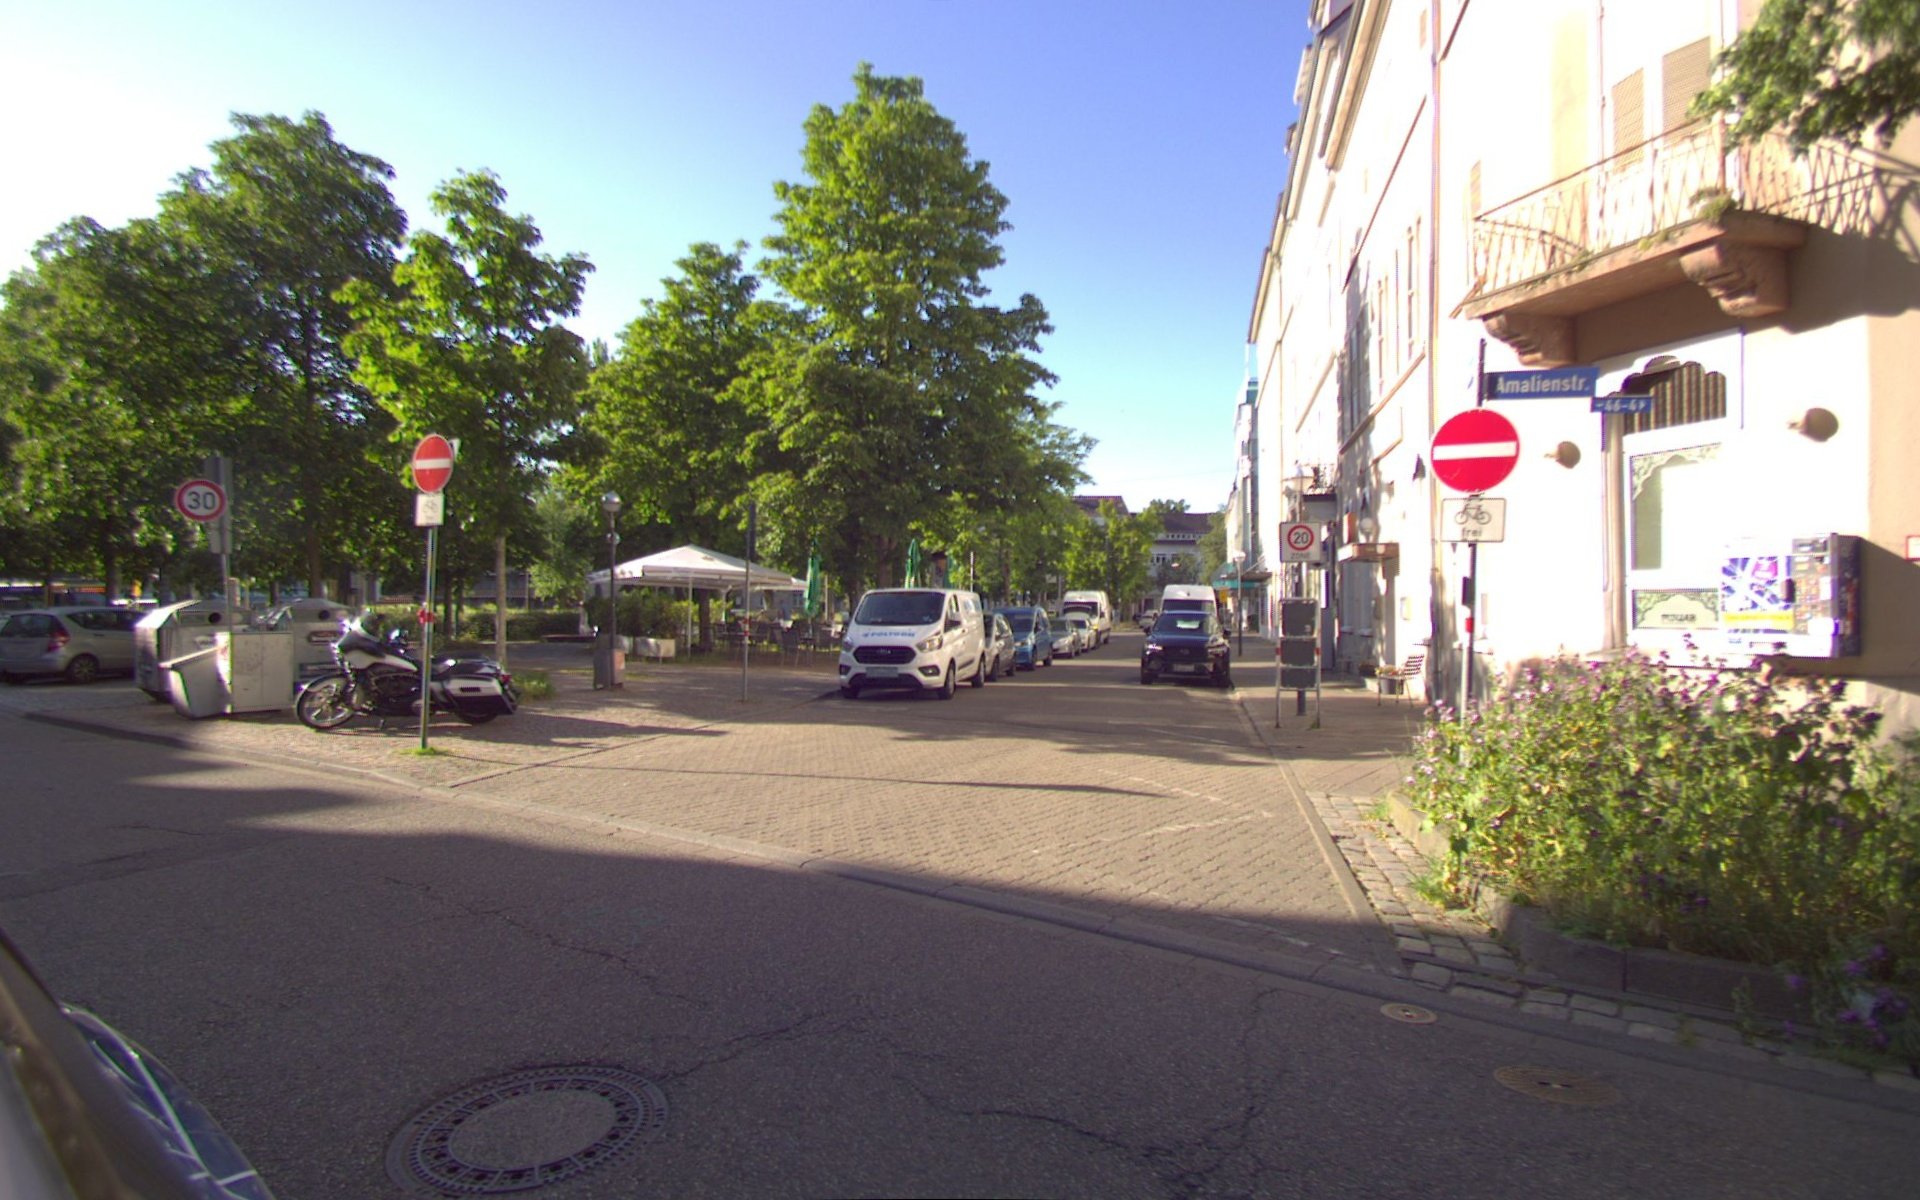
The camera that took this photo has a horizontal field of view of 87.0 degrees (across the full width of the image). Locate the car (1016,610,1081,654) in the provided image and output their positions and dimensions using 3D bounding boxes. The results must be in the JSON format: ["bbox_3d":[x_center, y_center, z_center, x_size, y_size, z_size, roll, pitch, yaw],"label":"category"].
[{"bbox_3d":[3.322,1.160,37.384,1.908,1.528,4.135,0,-2,12],"label":"car"}]

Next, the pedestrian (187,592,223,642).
[{"bbox_3d":[-19.383,0.435,25.997,0.520,1.266,0.519,0,-1,4],"label":"pedestrian"}]

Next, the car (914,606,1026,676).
[{"bbox_3d":[0.339,0.959,24.348,1.908,1.528,4.135,0,-2,12],"label":"car"}]

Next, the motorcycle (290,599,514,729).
[{"bbox_3d":[-6.652,0.720,12.223,2.282,1.434,1.004,0,0,-25],"label":"motorcycle"}]

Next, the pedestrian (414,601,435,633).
[{"bbox_3d":[-20.983,0.666,39.663,0.516,1.266,0.523,0,-1,20],"label":"pedestrian"}]

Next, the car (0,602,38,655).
[{"bbox_3d":[-32.221,0.924,32.100,1.984,1.706,3.976,0,0,18],"label":"car"}]

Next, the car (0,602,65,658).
[{"bbox_3d":[-30.020,0.908,30.569,2.086,1.657,3.977,1,0,18],"label":"car"}]

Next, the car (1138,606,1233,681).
[{"bbox_3d":[5.139,0.958,23.034,1.909,1.528,4.364,0,-2,13],"label":"car"}]

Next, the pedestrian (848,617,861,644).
[{"bbox_3d":[-3.776,1.074,36.200,0.380,0.960,0.364,0,-1,13],"label":"pedestrian"}]

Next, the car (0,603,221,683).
[{"bbox_3d":[-18.648,0.860,22.025,1.976,1.574,3.992,0,0,6],"label":"car"}]

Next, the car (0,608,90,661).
[{"bbox_3d":[-27.837,0.993,29.014,1.988,1.485,3.967,-1,0,25],"label":"car"}]

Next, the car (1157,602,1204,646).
[{"bbox_3d":[9.645,1.065,44.336,1.908,1.802,4.570,0,-2,12],"label":"car"}]

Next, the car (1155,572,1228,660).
[{"bbox_3d":[7.938,0.591,35.107,2.191,2.722,6.993,0,-2,12],"label":"car"}]

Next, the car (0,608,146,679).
[{"bbox_3d":[-20.934,0.933,22.675,1.976,1.453,3.992,0,0,6],"label":"car"}]

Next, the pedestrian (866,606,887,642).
[{"bbox_3d":[-3.205,0.898,38.794,0.570,1.367,0.562,0,-1,28],"label":"pedestrian"}]

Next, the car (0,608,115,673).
[{"bbox_3d":[-23.389,0.970,24.638,1.979,1.485,3.985,0,0,11],"label":"car"}]

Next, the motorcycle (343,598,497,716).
[{"bbox_3d":[-6.995,0.704,13.195,1.724,1.434,0.832,0,0,-26],"label":"motorcycle"}]

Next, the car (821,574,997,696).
[{"bbox_3d":[-0.757,0.642,19.079,2.053,1.959,5.308,0,-2,12],"label":"car"}]

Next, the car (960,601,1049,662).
[{"bbox_3d":[1.361,0.903,29.112,1.908,1.624,4.135,0,-2,12],"label":"car"}]

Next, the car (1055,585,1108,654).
[{"bbox_3d":[5.926,0.975,48.766,2.096,3.109,5.875,0,-2,12],"label":"car"}]
